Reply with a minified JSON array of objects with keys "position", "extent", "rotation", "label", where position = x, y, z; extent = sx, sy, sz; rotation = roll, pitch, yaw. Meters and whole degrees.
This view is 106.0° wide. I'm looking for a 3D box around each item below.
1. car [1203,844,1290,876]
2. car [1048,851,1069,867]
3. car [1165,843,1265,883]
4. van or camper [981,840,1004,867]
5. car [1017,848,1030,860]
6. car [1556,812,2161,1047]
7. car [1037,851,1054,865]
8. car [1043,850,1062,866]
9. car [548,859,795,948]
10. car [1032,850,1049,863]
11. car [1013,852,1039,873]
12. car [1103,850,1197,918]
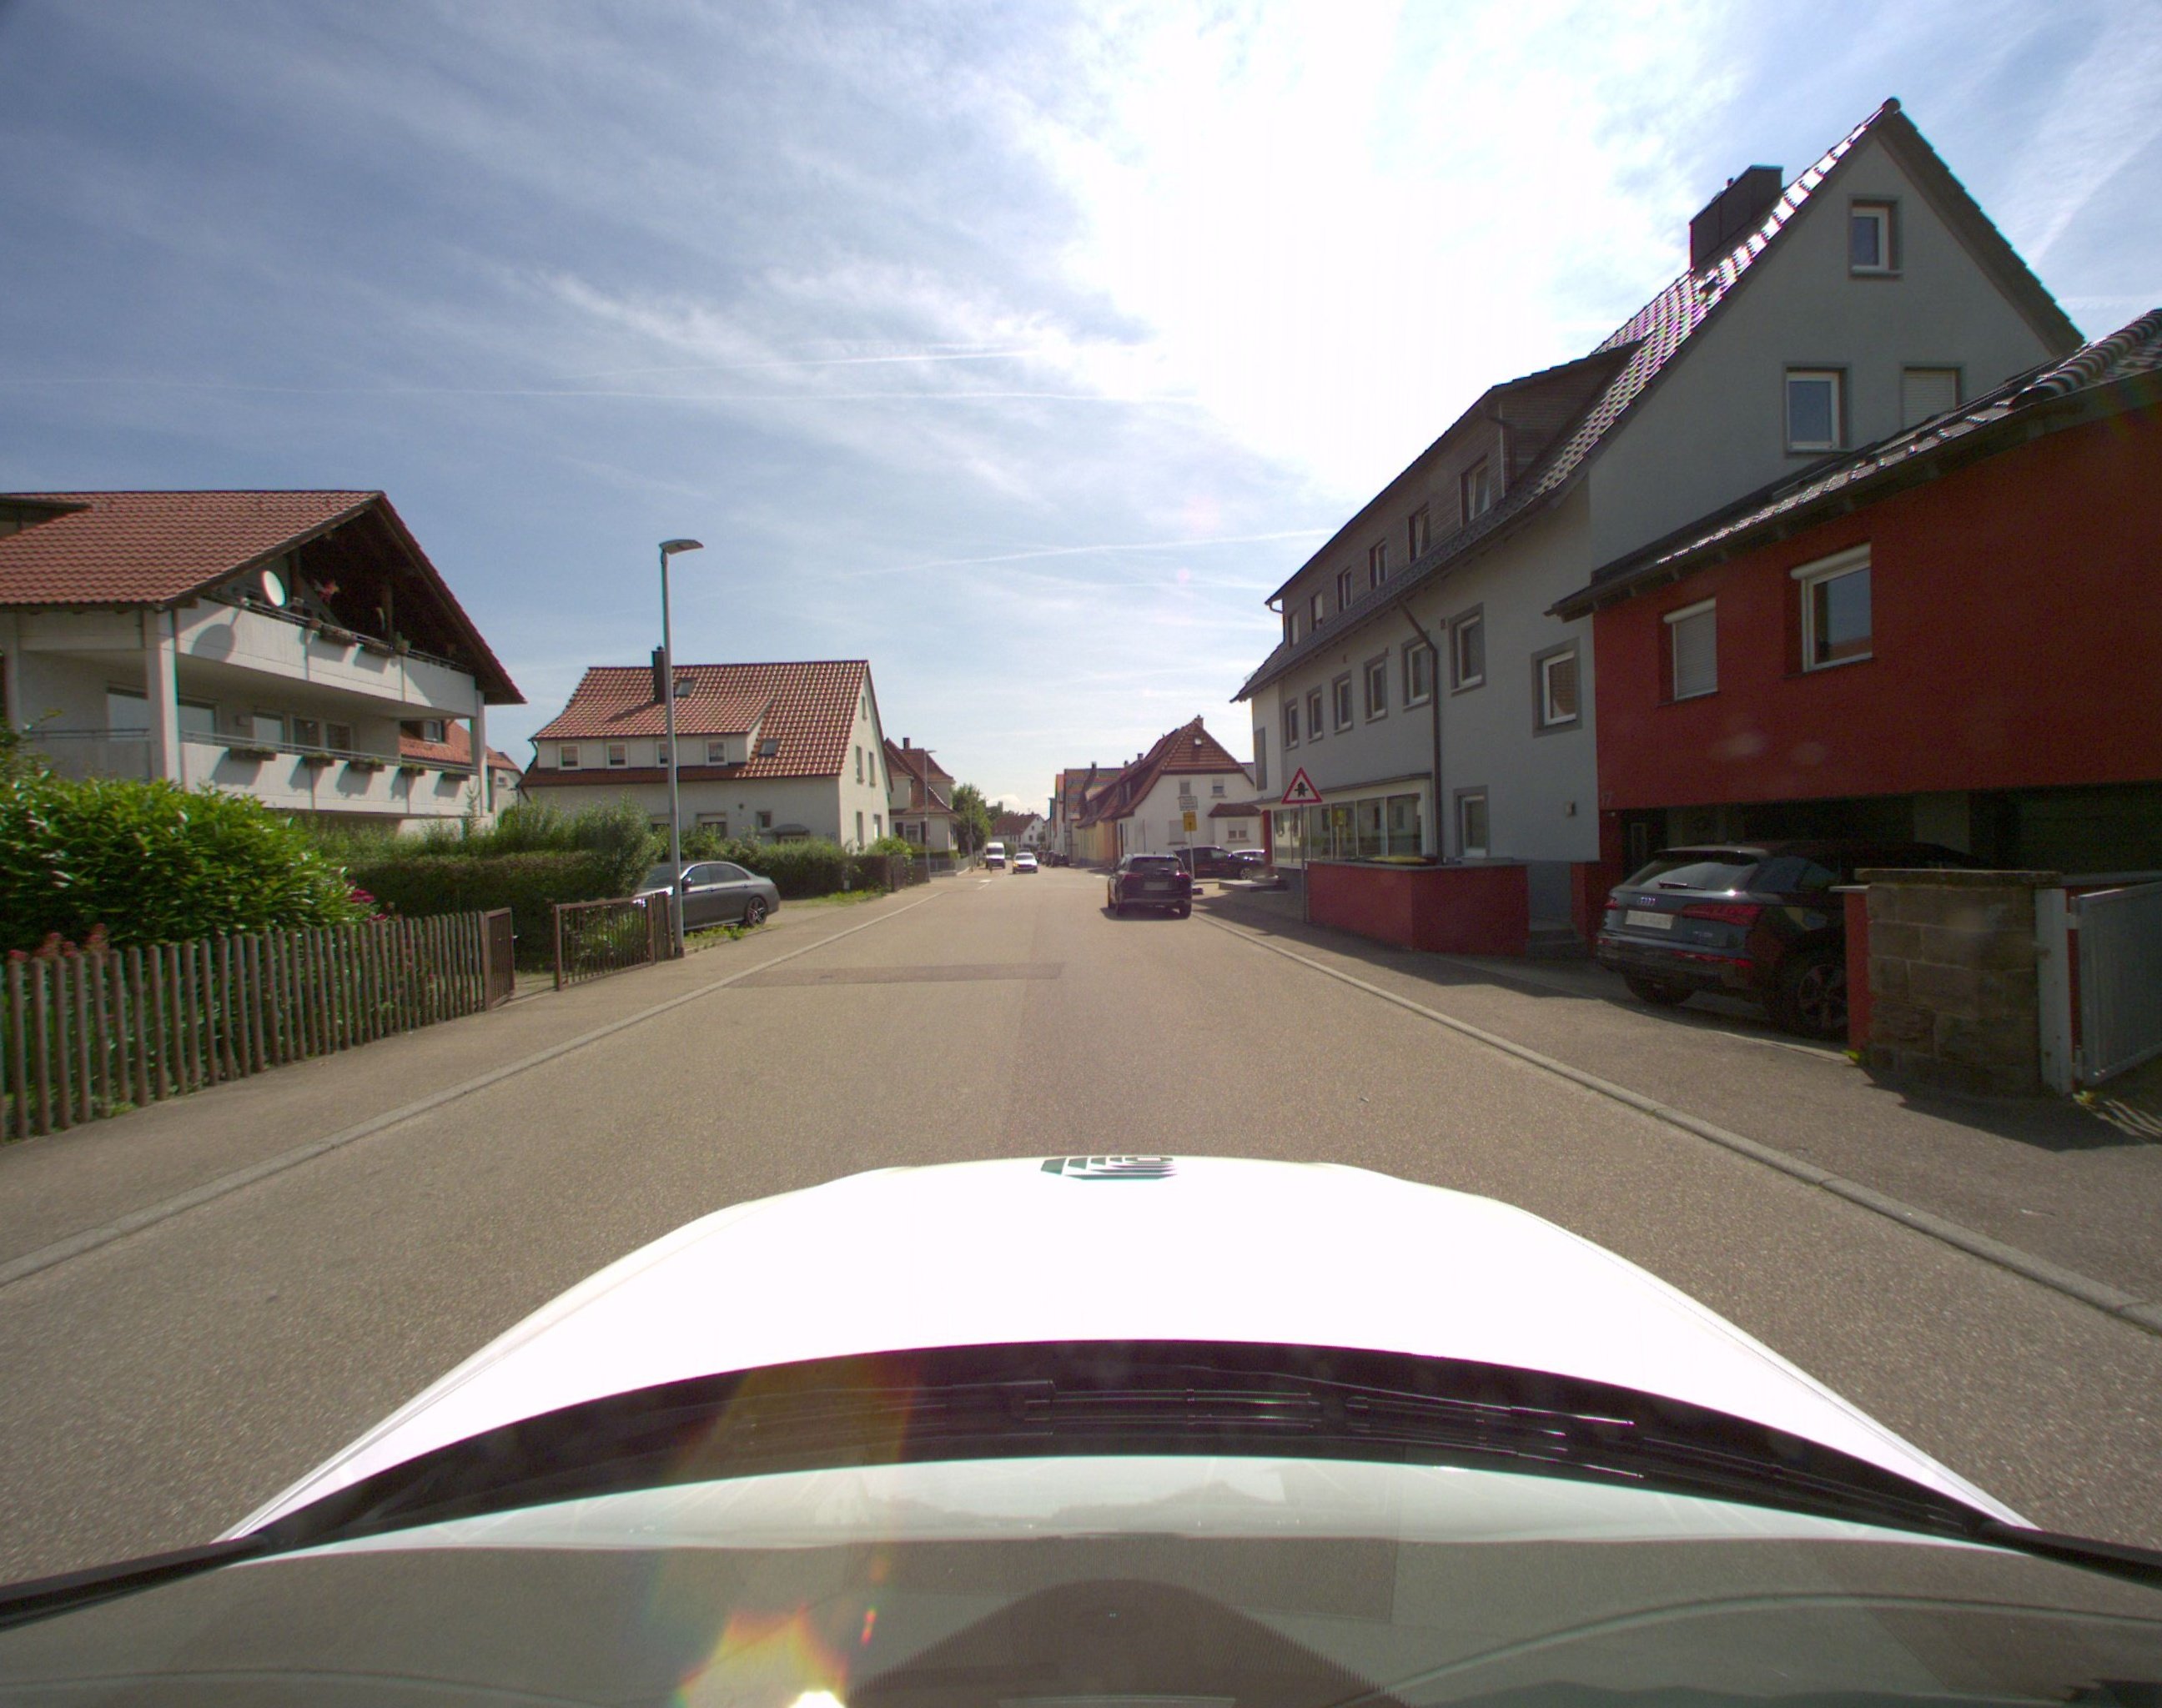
[{"position":[8.266,0.276,40.898],"extent":[3.975,1.504,1.694],"rotation":[-1,0,-1],"label":"car"},{"position":[-2.203,0.470,77.579],"extent":[1.610,1.431,3.744],"rotation":[-1,0,-8],"label":"car"},{"position":[5.992,0.397,36.838],"extent":[4.277,1.653,1.849],"rotation":[-1,0,2],"label":"car"},{"position":[-8.966,-0.035,82.359],"extent":[2.182,2.571,6.792],"rotation":[-1,0,-6],"label":"van or camper"},{"position":[-10.955,-0.034,154.968],"extent":[2.122,2.158,4.736],"rotation":[-2,0,0],"label":"car"},{"position":[7.153,0.650,7.605],"extent":[4.360,1.668,1.874],"rotation":[4,0,-5],"label":"car"},{"position":[-4.121,0.413,95.156],"extent":[1.672,1.559,3.032],"rotation":[-1,0,-8],"label":"car"},{"position":[-2.912,0.395,83.149],"extent":[1.726,1.599,4.245],"rotation":[-1,0,-5],"label":"car"},{"position":[-7.840,0.867,16.197],"extent":[1.814,1.432,4.580],"rotation":[-1,0,13],"label":"car"},{"position":[-5.476,0.306,110.041],"extent":[1.874,1.700,4.172],"rotation":[-1,0,-8],"label":"car"},{"position":[-4.015,0.592,58.997],"extent":[1.750,1.438,4.580],"rotation":[-1,0,-5],"label":"car"},{"position":[1.633,0.674,20.738],"extent":[1.758,1.527,4.400],"rotation":[-1,0,-4],"label":"car"}]
